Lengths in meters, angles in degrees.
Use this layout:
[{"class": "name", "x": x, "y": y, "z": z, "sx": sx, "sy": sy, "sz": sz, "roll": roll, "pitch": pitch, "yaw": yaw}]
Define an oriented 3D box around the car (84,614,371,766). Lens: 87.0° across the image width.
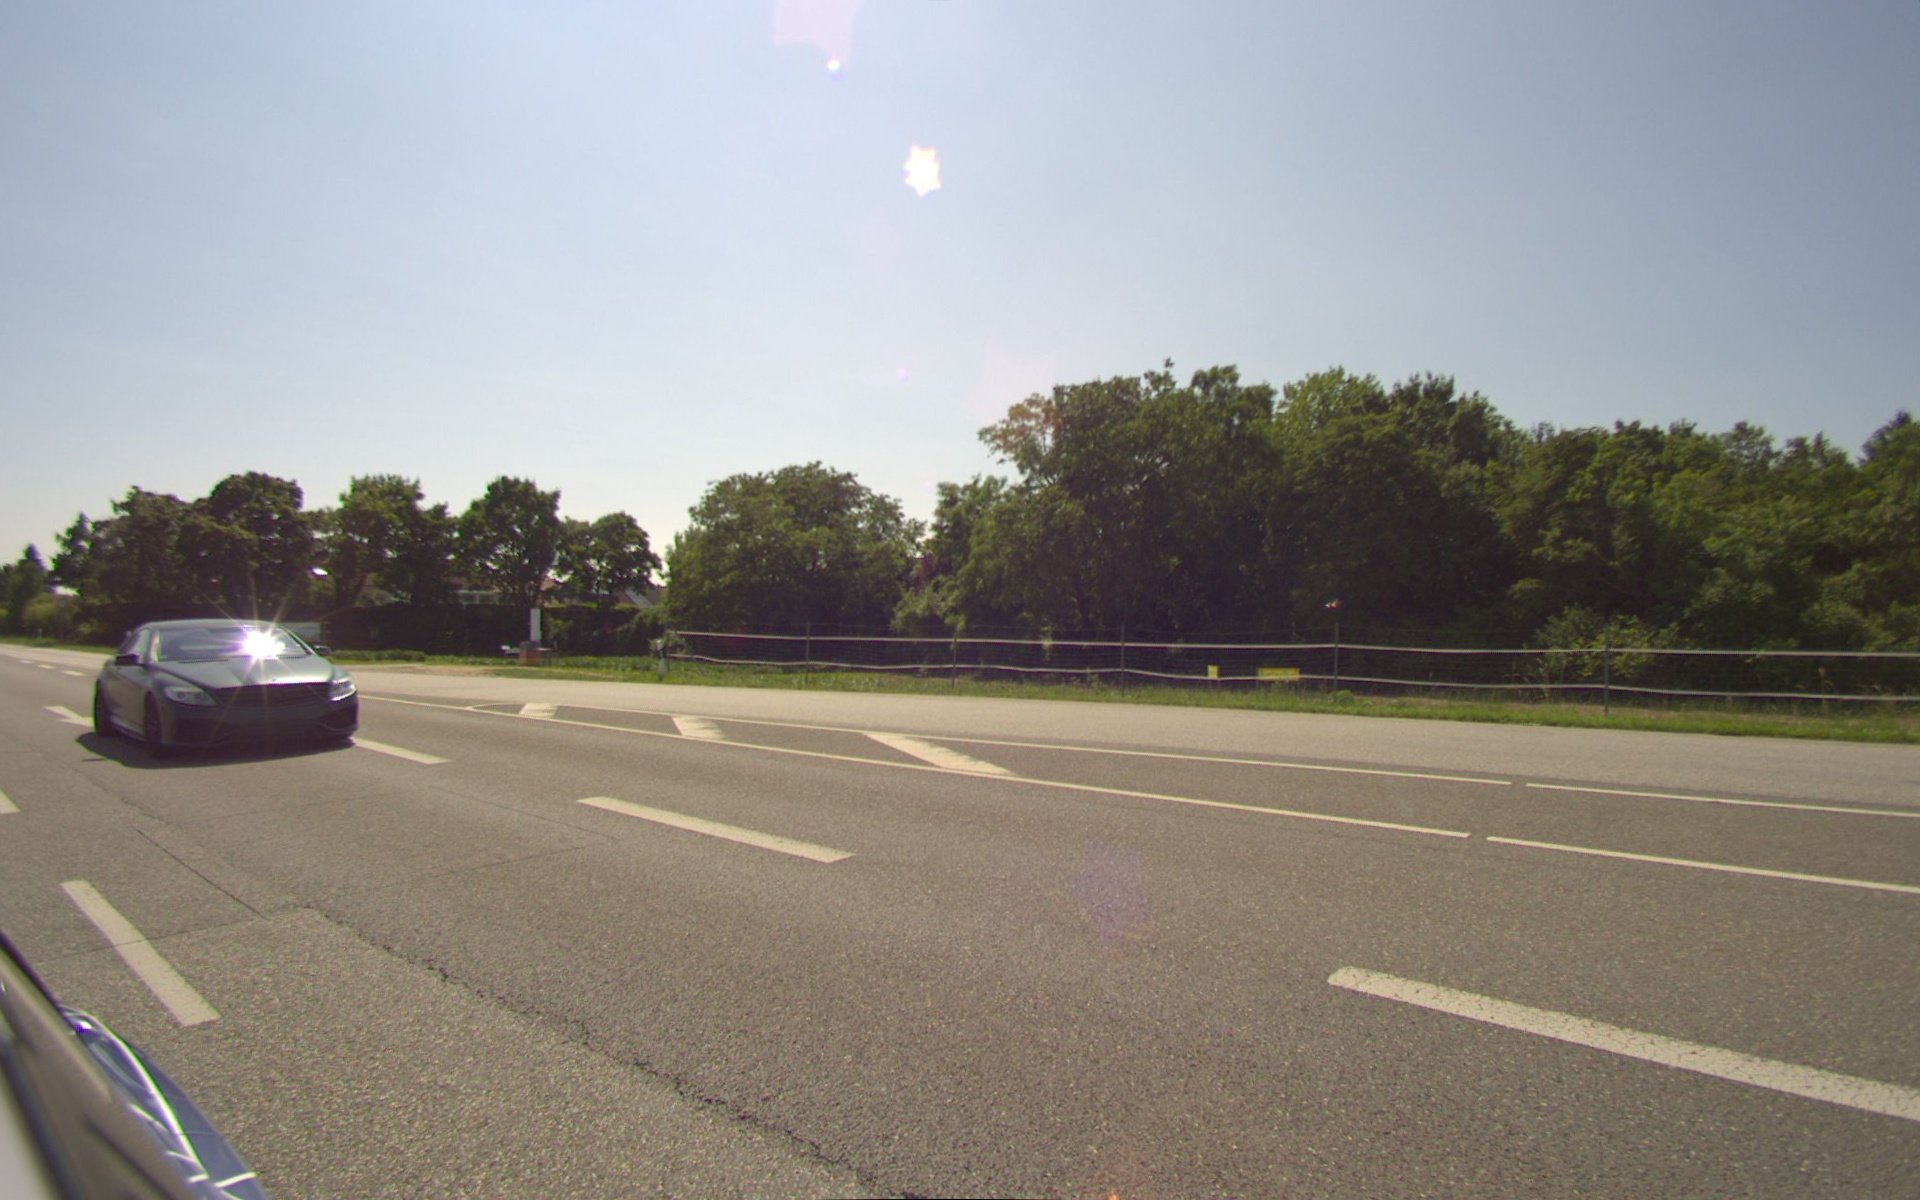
[{"class": "car", "x": -8.930, "y": 0.935, "z": 12.155, "sx": 4.875, "sy": 1.461, "sz": 1.792, "roll": -2, "pitch": -1, "yaw": 42}]
